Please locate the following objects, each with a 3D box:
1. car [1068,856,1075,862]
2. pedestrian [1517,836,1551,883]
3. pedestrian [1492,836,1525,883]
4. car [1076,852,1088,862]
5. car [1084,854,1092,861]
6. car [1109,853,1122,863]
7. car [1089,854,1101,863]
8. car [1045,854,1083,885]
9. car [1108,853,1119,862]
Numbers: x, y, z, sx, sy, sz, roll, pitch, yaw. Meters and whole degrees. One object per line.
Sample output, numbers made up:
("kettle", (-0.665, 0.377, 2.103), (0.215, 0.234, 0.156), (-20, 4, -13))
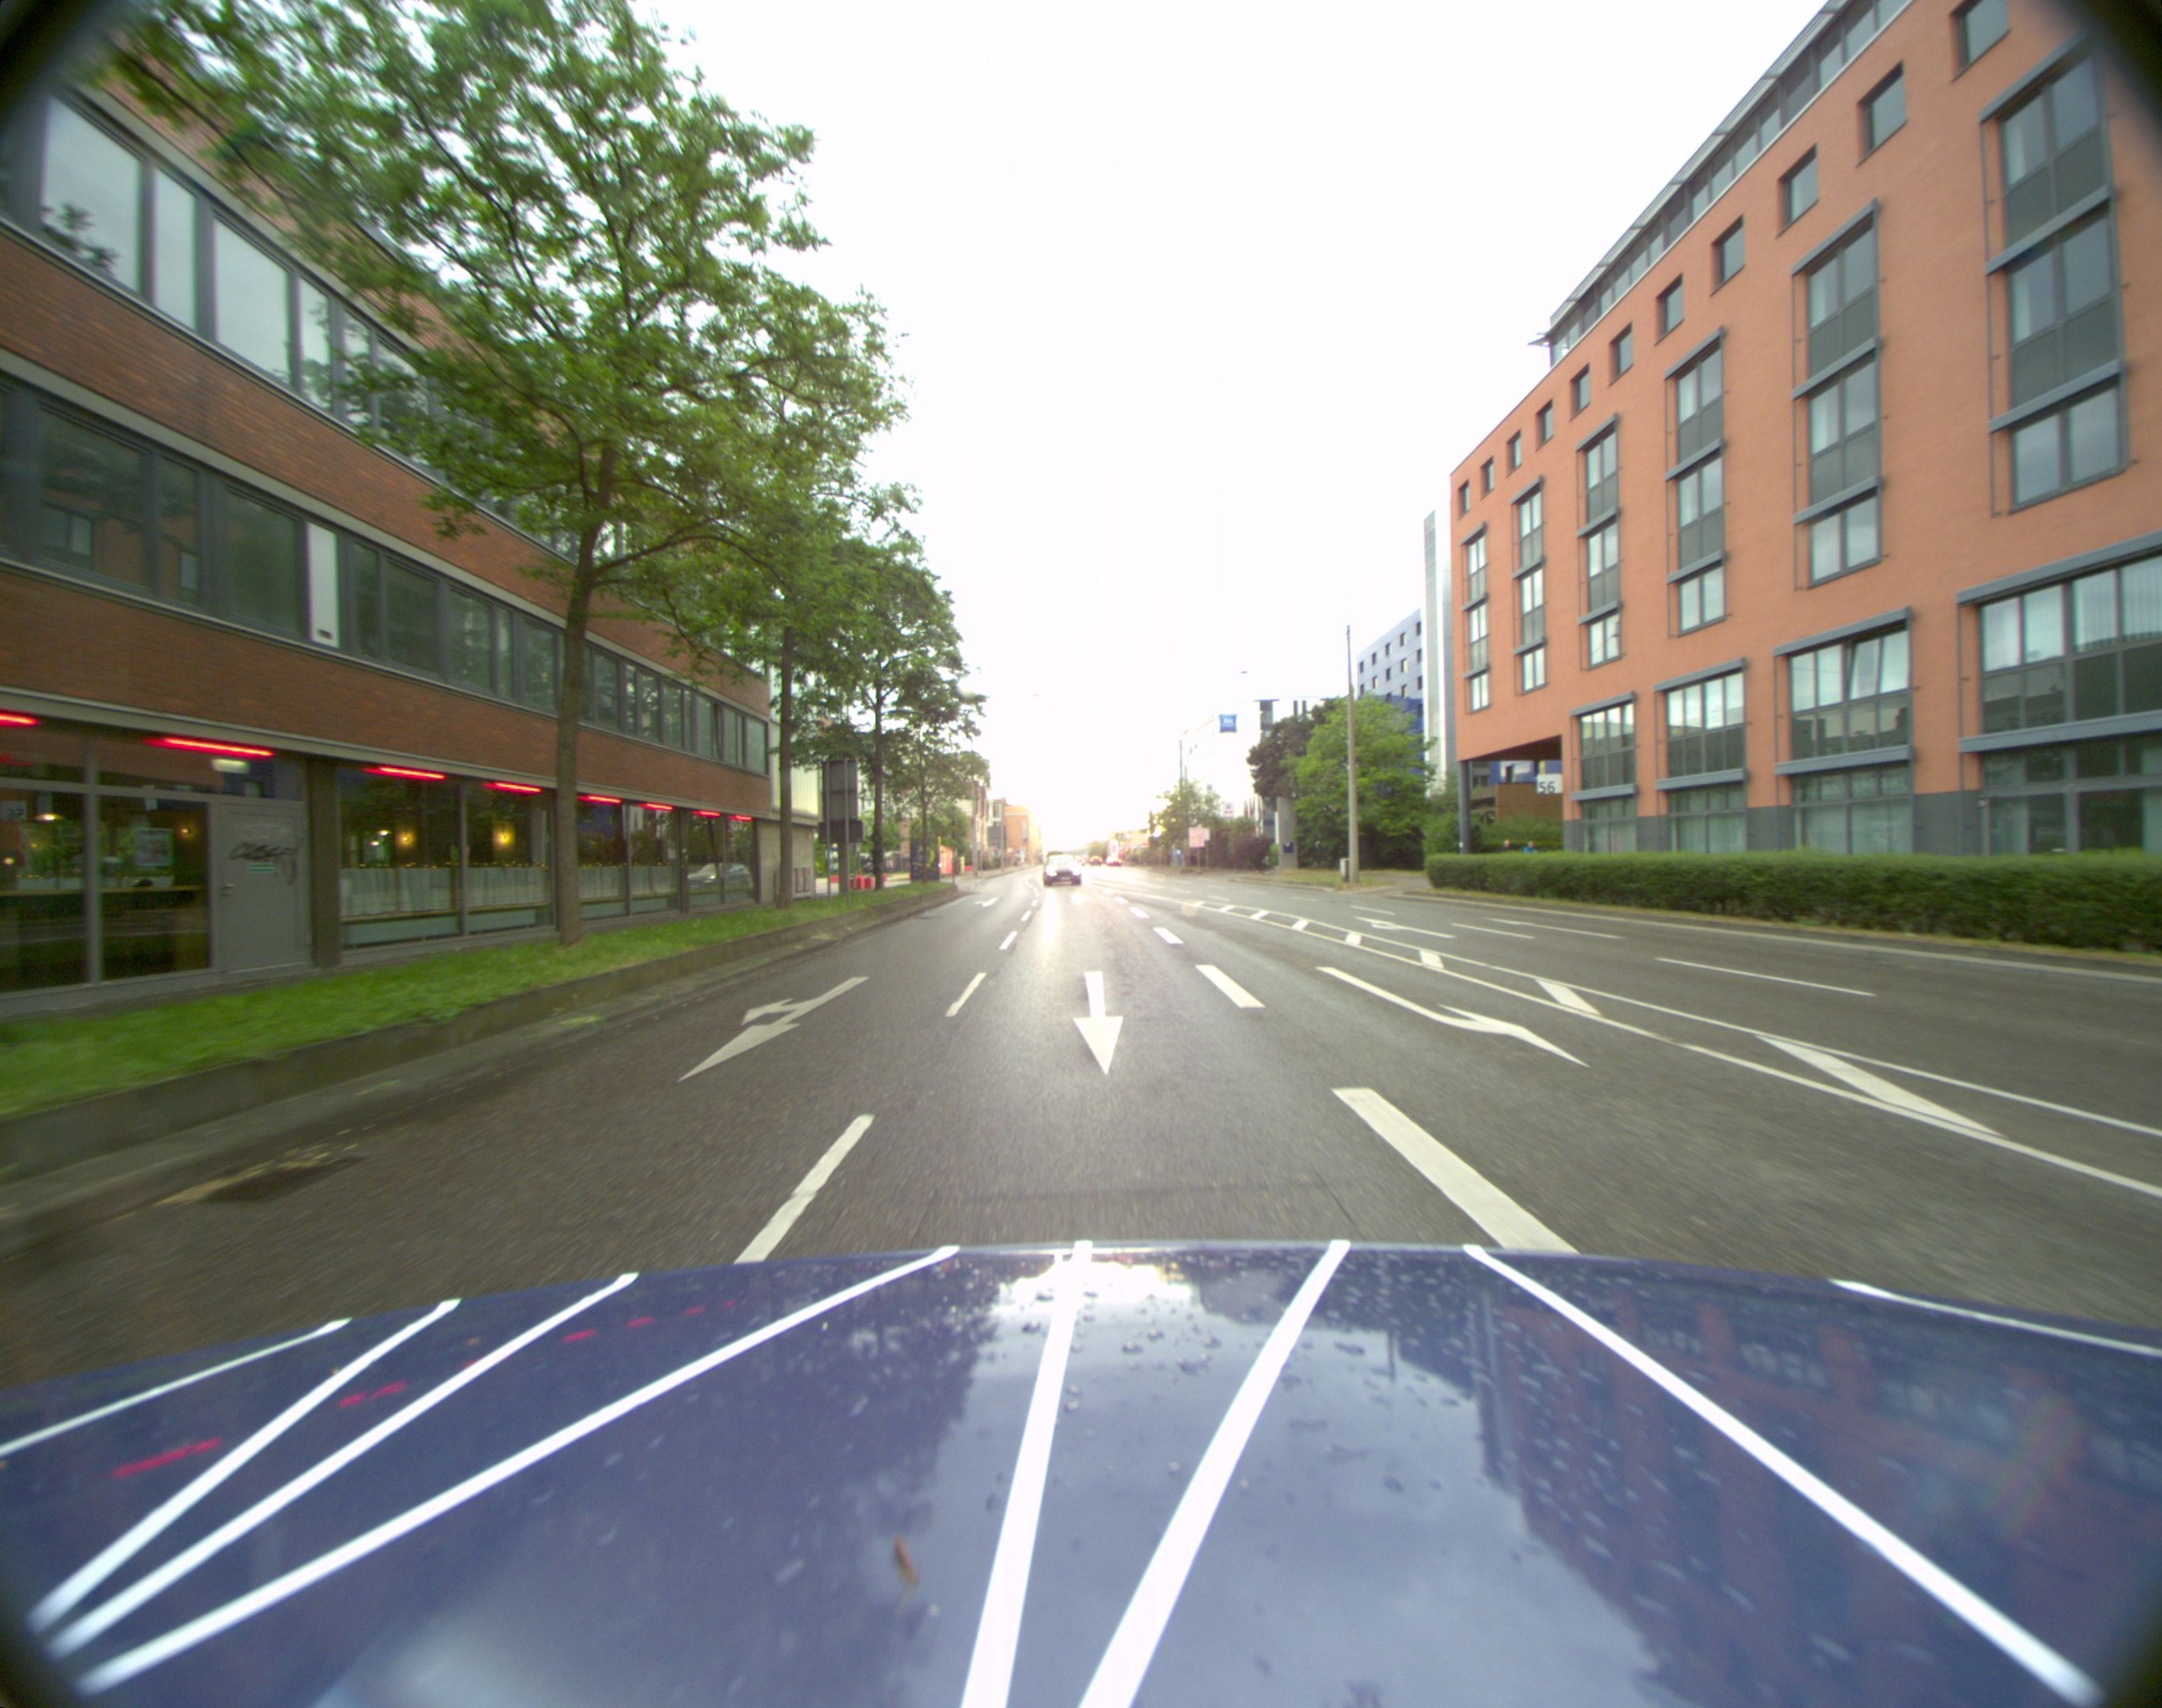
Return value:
("car", (-2.387, 1.390, 192.241), (1.799, 1.501, 4.000), (0, -1, 0))
("pedestrian", (18.096, 0.204, 30.364), (0.747, 1.830, 0.885), (-2, 1, -1))
("pedestrian", (17.200, 0.228, 30.590), (0.747, 1.830, 0.885), (-2, 1, -1))
("car", (0.147, 0.457, 127.768), (1.999, 1.543, 4.000), (-1, 0, 0))
("car", (1.659, 0.877, 182.547), (1.999, 1.543, 4.000), (-1, 0, 0))
("car", (5.865, 0.666, 130.298), (1.767, 1.559, 3.999), (1, 0, -3))
("car", (2.595, 0.750, 139.057), (1.999, 1.543, 4.000), (-1, 0, 0))
("car", (-1.056, 0.876, 44.828), (1.999, 1.656, 5.423), (-1, 0, -4))
("car", (6.276, 0.670, 146.976), (1.767, 1.559, 3.999), (1, 0, -2))
